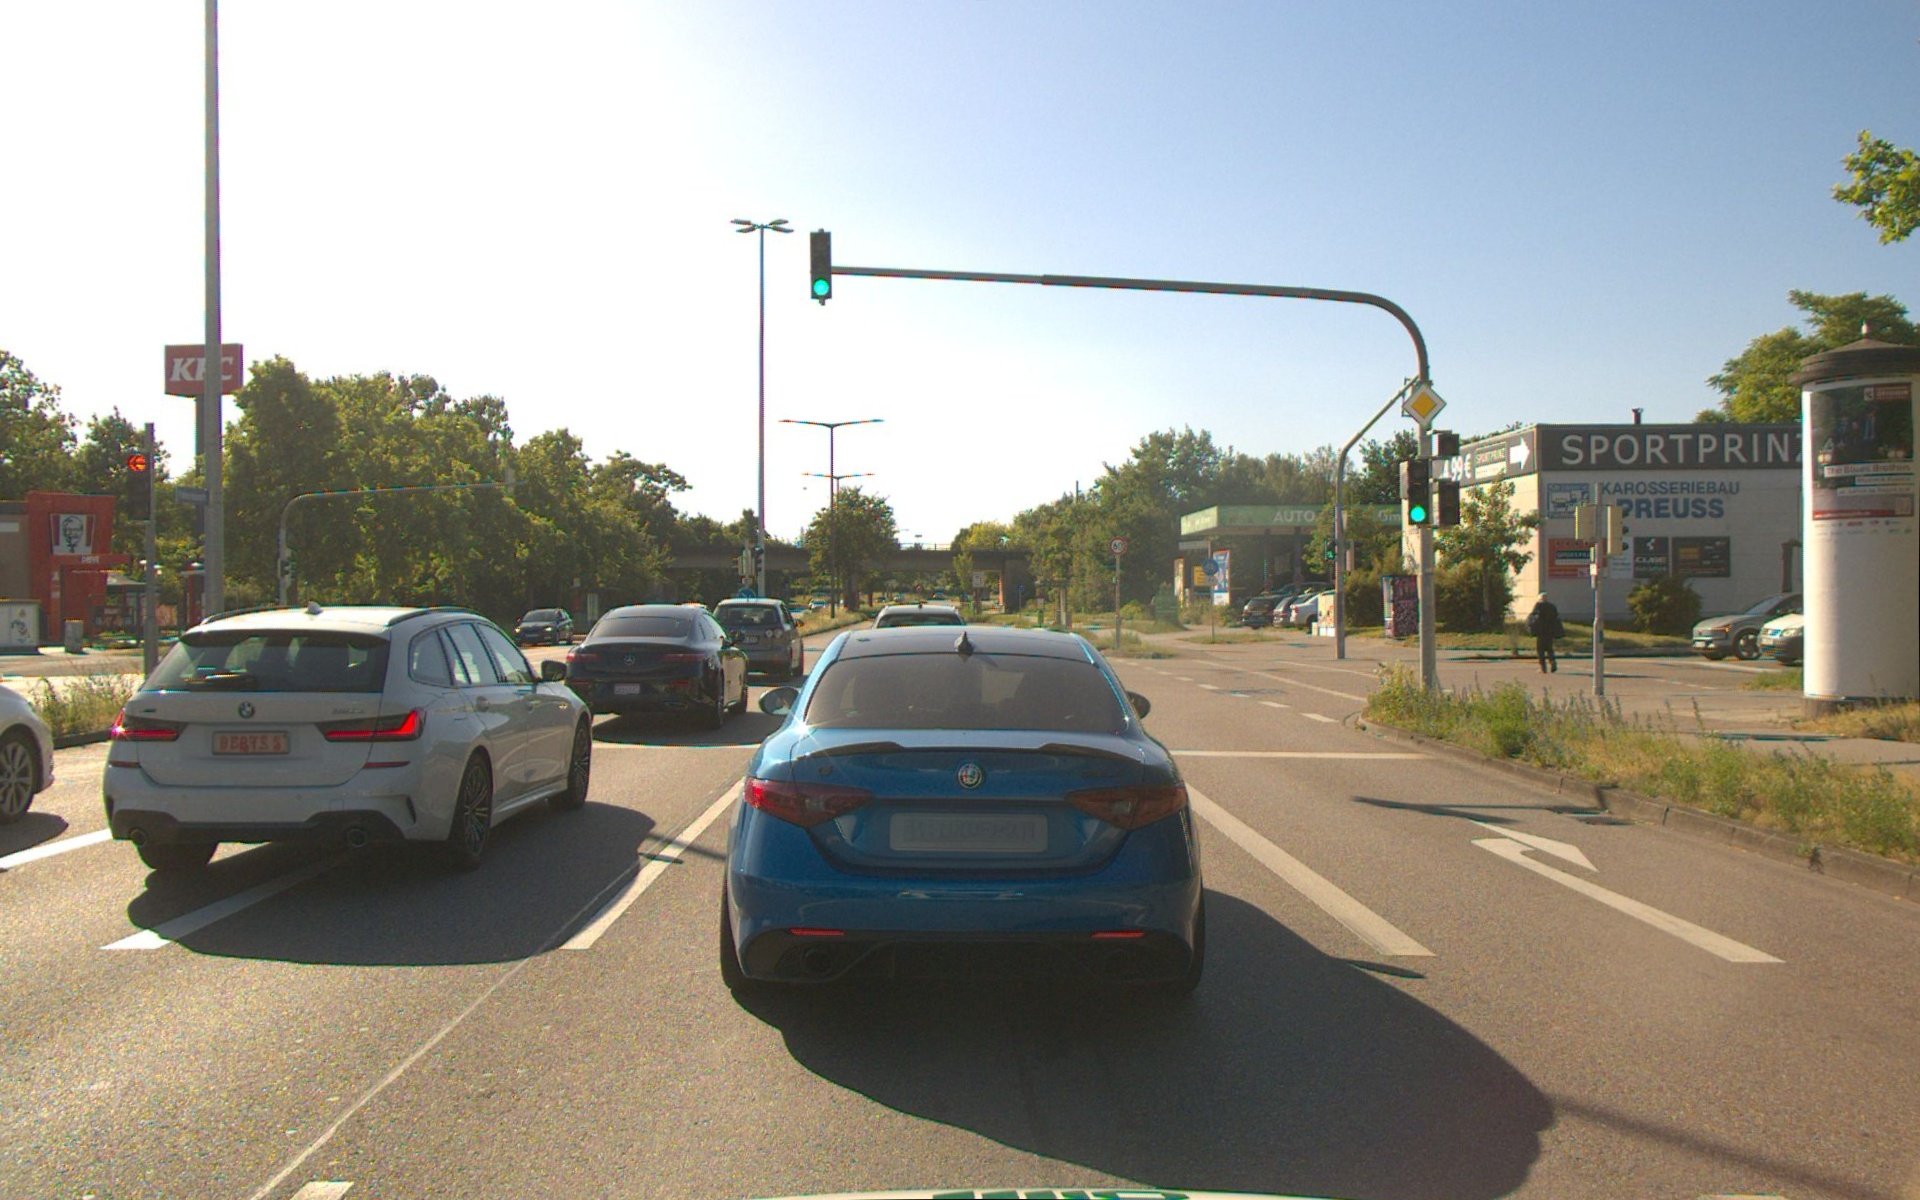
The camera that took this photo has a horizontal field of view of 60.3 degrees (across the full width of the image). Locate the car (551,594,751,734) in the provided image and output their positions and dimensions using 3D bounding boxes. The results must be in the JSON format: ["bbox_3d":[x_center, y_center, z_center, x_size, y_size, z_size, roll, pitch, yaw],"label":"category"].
[{"bbox_3d":[-3.699,0.739,20.564,1.760,1.516,4.473,1,-1,-2],"label":"car"}]

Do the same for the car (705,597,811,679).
[{"bbox_3d":[-4.002,0.749,33.369,1.723,1.516,4.401,1,-1,-2],"label":"car"}]

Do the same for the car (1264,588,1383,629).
[{"bbox_3d":[14.651,0.336,66.849,4.397,1.479,1.858,-2,-1,1],"label":"car"}]

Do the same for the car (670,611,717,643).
[{"bbox_3d":[-13.428,1.336,83.436,1.723,1.516,3.836,-2,0,-1],"label":"car"}]

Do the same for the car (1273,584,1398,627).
[{"bbox_3d":[14.496,0.209,64.035,4.397,1.479,1.858,-2,-1,1],"label":"car"}]

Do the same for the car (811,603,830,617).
[{"bbox_3d":[-15.840,1.186,187.858,1.723,1.516,4.477,-2,0,-1],"label":"car"}]

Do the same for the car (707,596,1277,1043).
[{"bbox_3d":[0.042,0.752,7.638,1.857,1.443,4.401,1,-1,-2],"label":"car"}]

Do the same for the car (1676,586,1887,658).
[{"bbox_3d":[19.615,0.508,39.597,4.201,1.576,1.764,-1,1,-2],"label":"car"}]

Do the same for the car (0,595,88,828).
[{"bbox_3d":[-7.071,0.696,9.743,1.723,1.516,4.195,1,-1,-2],"label":"car"}]

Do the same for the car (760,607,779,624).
[{"bbox_3d":[-19.613,1.596,170.743,1.577,1.675,3.461,1,-1,-1],"label":"car"}]

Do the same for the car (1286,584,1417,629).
[{"bbox_3d":[14.496,0.258,61.349,4.397,1.479,1.858,-2,-1,1],"label":"car"}]

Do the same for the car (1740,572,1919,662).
[{"bbox_3d":[19.649,0.343,36.263,4.294,1.833,1.764,-1,1,-2],"label":"car"}]

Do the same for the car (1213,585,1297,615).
[{"bbox_3d":[16.717,0.010,93.818,4.457,1.516,1.765,-2,-1,1],"label":"car"}]

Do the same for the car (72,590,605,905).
[{"bbox_3d":[-3.507,0.752,10.299,1.749,1.516,4.401,1,-1,-2],"label":"car"}]

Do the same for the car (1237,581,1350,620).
[{"bbox_3d":[14.200,0.040,70.598,4.397,1.479,1.858,-2,-1,1],"label":"car"}]

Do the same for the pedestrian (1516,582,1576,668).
[{"bbox_3d":[12.387,0.526,34.993,0.906,1.766,0.938,1,-1,-1],"label":"pedestrian"}]

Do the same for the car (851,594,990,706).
[{"bbox_3d":[-0.593,0.687,24.067,1.813,1.443,4.401,1,-1,-2],"label":"car"}]

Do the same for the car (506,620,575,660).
[{"bbox_3d":[-17.273,1.633,68.299,1.723,1.516,4.477,-2,0,-1],"label":"car"}]
